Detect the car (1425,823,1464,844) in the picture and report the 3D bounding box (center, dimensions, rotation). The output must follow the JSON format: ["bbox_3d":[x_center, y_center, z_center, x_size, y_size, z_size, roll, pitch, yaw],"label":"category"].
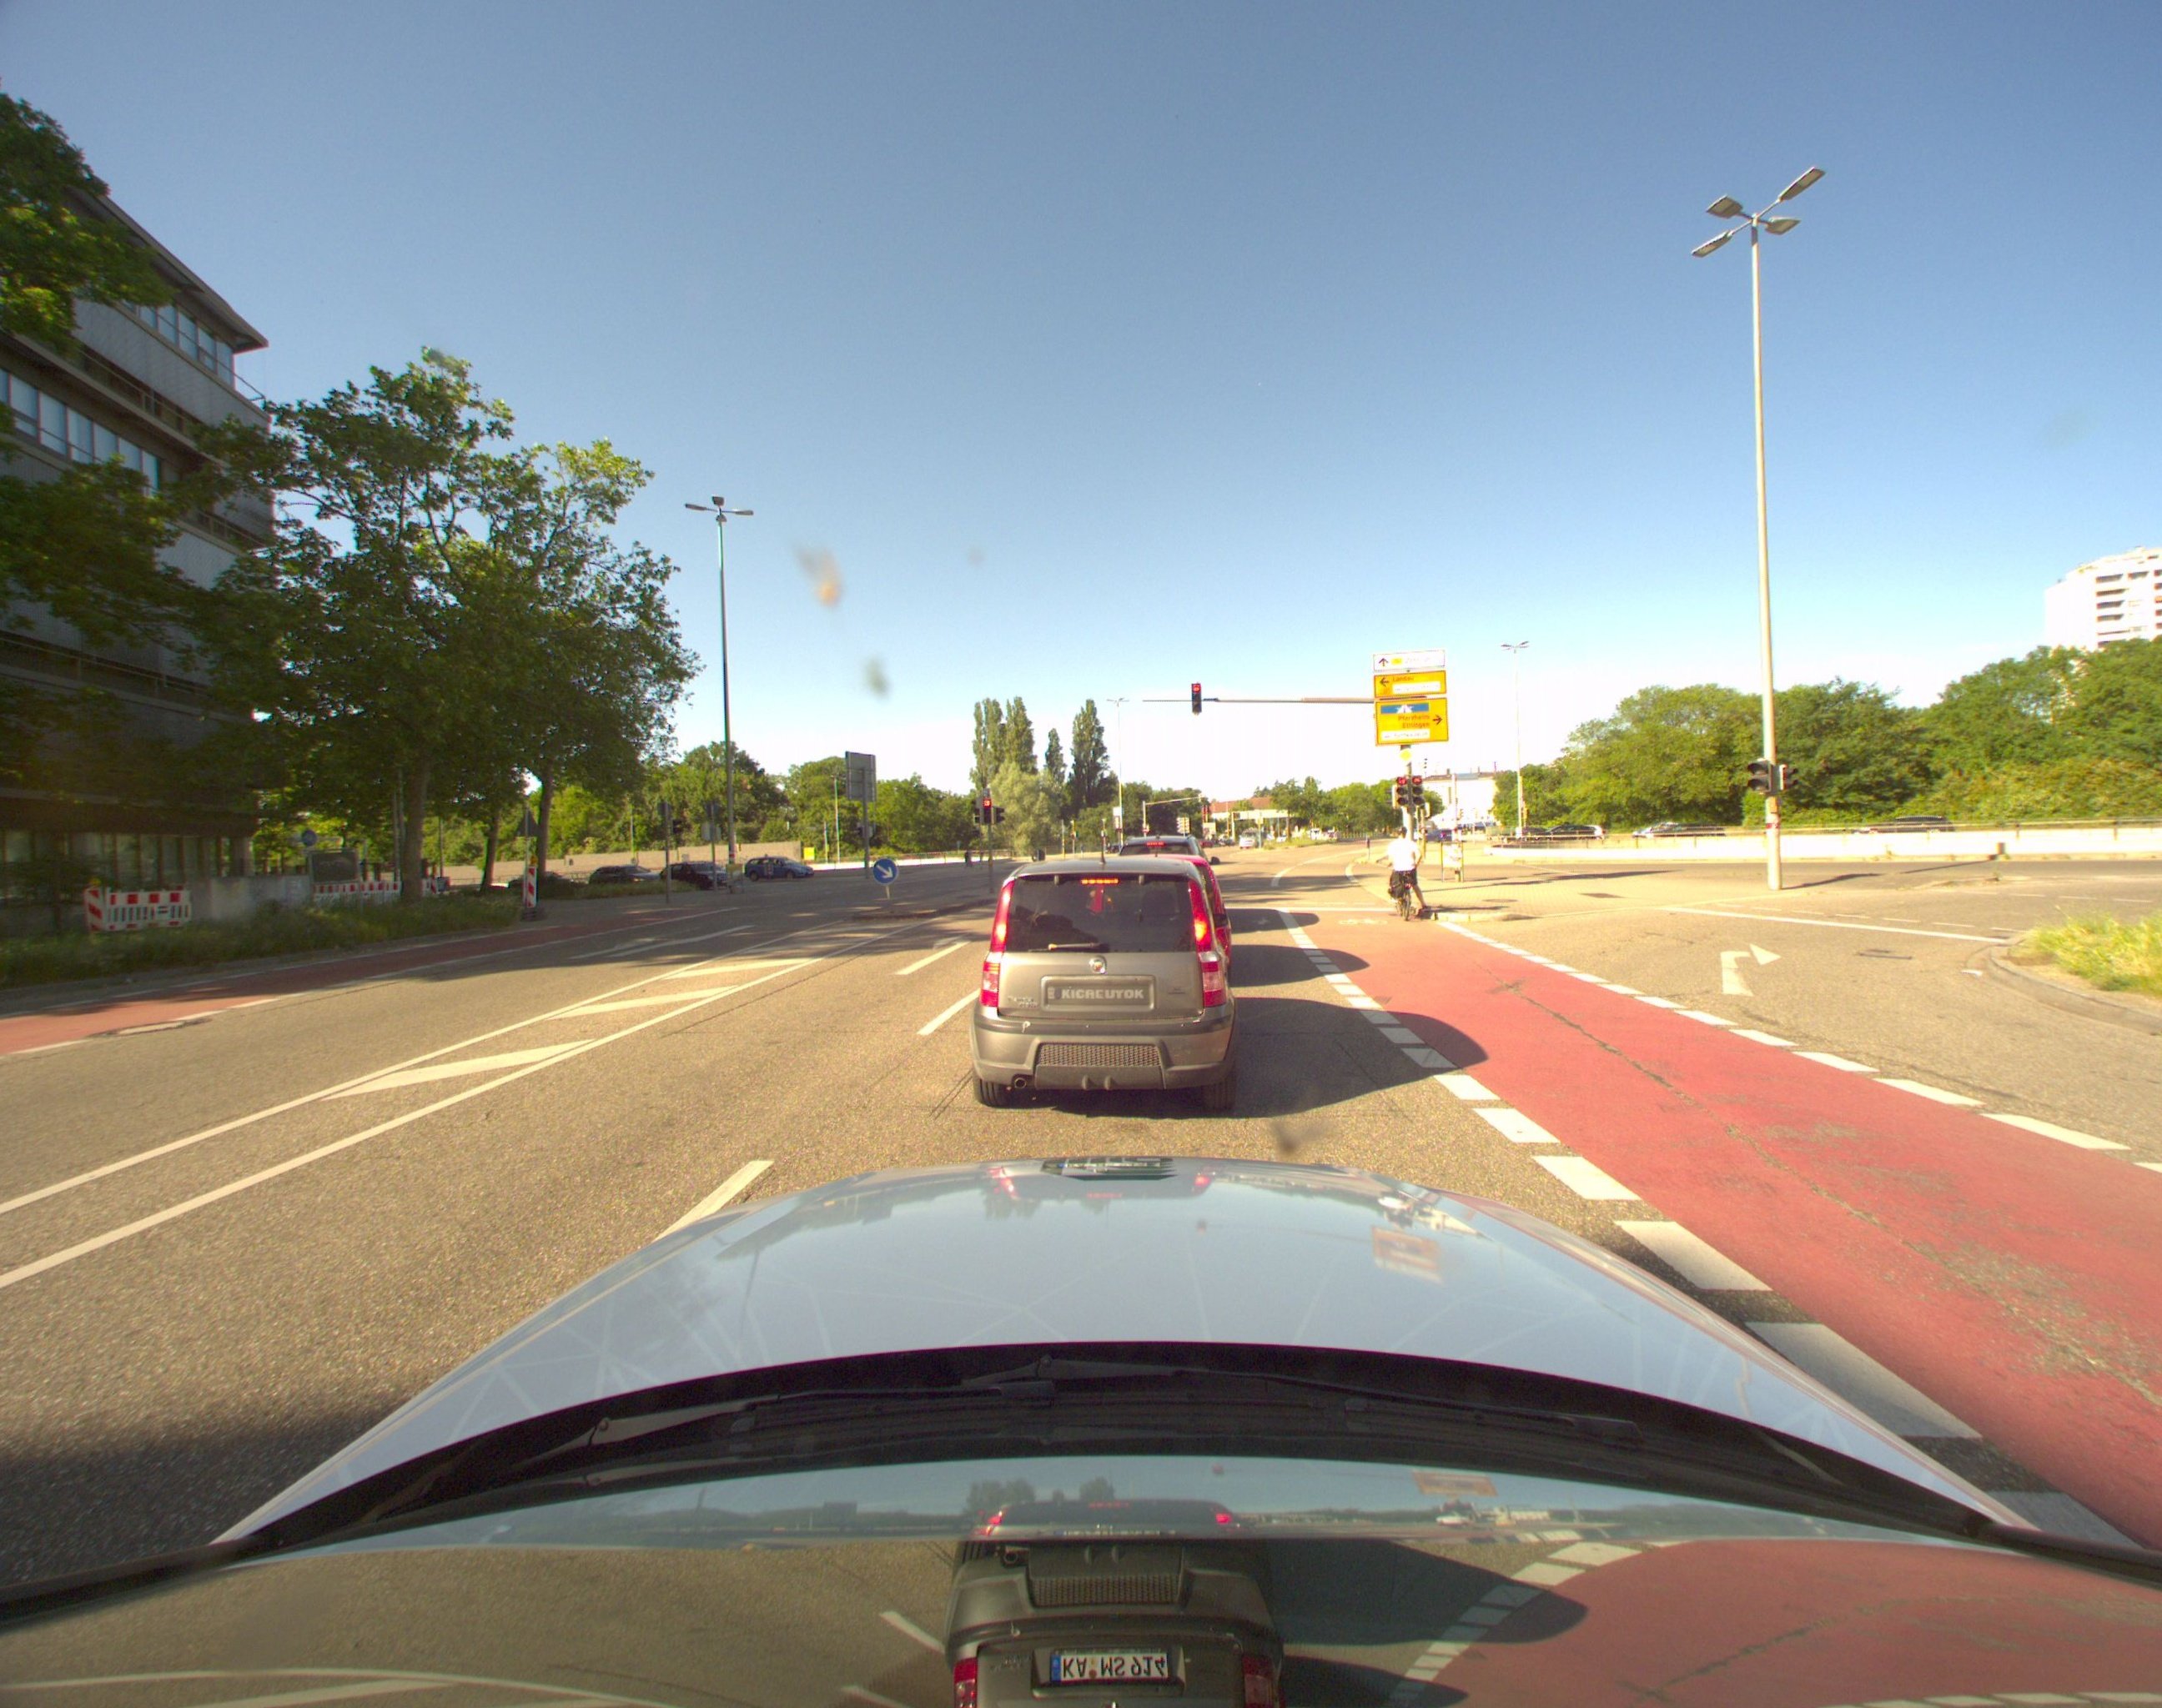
[{"bbox_3d":[37.293,-2.099,83.723,2.004,1.855,4.890,-1,-2,3],"label":"car"}]

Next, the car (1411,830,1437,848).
[{"bbox_3d":[38.795,-1.664,92.230,1.980,1.750,4.012,-1,-2,12],"label":"car"}]

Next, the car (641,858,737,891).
[{"bbox_3d":[-19.652,1.045,40.844,4.396,1.438,1.836,-2,0,24],"label":"car"}]

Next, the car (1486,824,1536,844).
[{"bbox_3d":[38.185,-1.783,72.431,1.992,1.661,3.991,-3,2,-7],"label":"car"}]

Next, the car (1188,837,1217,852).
[{"bbox_3d":[16.907,-1.259,113.233,1.993,1.855,4.917,-2,-2,34],"label":"car"}]

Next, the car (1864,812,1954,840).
[{"bbox_3d":[54.190,-1.822,53.375,3.948,1.618,1.739,-1,1,40],"label":"car"}]

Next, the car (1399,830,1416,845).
[{"bbox_3d":[42.854,-2.196,106.764,1.976,1.750,4.021,-2,-2,23],"label":"car"}]

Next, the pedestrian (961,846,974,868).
[{"bbox_3d":[-8.288,0.227,59.494,0.684,1.538,1.365,-1,-4,0],"label":"pedestrian"}]

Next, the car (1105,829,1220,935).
[{"bbox_3d":[1.765,0.446,16.169,1.857,1.790,4.428,0,1,11],"label":"car"}]

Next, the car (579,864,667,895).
[{"bbox_3d":[-24.970,1.396,44.401,4.396,1.438,1.836,-2,0,24],"label":"car"}]

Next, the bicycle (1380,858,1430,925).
[{"bbox_3d":[6.385,0.683,15.972,0.792,1.110,2.416,-1,2,24],"label":"bicycle"}]

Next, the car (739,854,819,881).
[{"bbox_3d":[-18.852,0.834,50.850,4.402,1.438,1.834,-2,0,16],"label":"car"}]

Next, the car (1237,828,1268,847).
[{"bbox_3d":[18.336,-1.715,86.957,1.994,1.855,4.914,-2,-2,26],"label":"car"}]

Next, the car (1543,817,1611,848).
[{"bbox_3d":[36.378,-1.548,59.730,3.948,2.014,2.012,-3,-2,40],"label":"car"}]

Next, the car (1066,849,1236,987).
[{"bbox_3d":[0.920,0.684,10.805,1.811,1.479,4.005,0,0,5],"label":"car"}]

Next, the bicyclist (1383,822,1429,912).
[{"bbox_3d":[6.418,0.229,16.058,0.792,1.704,1.091,-1,1,24],"label":"bicyclist"}]

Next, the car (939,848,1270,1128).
[{"bbox_3d":[0.308,0.708,6.460,1.811,1.489,4.006,0,1,5],"label":"car"}]
